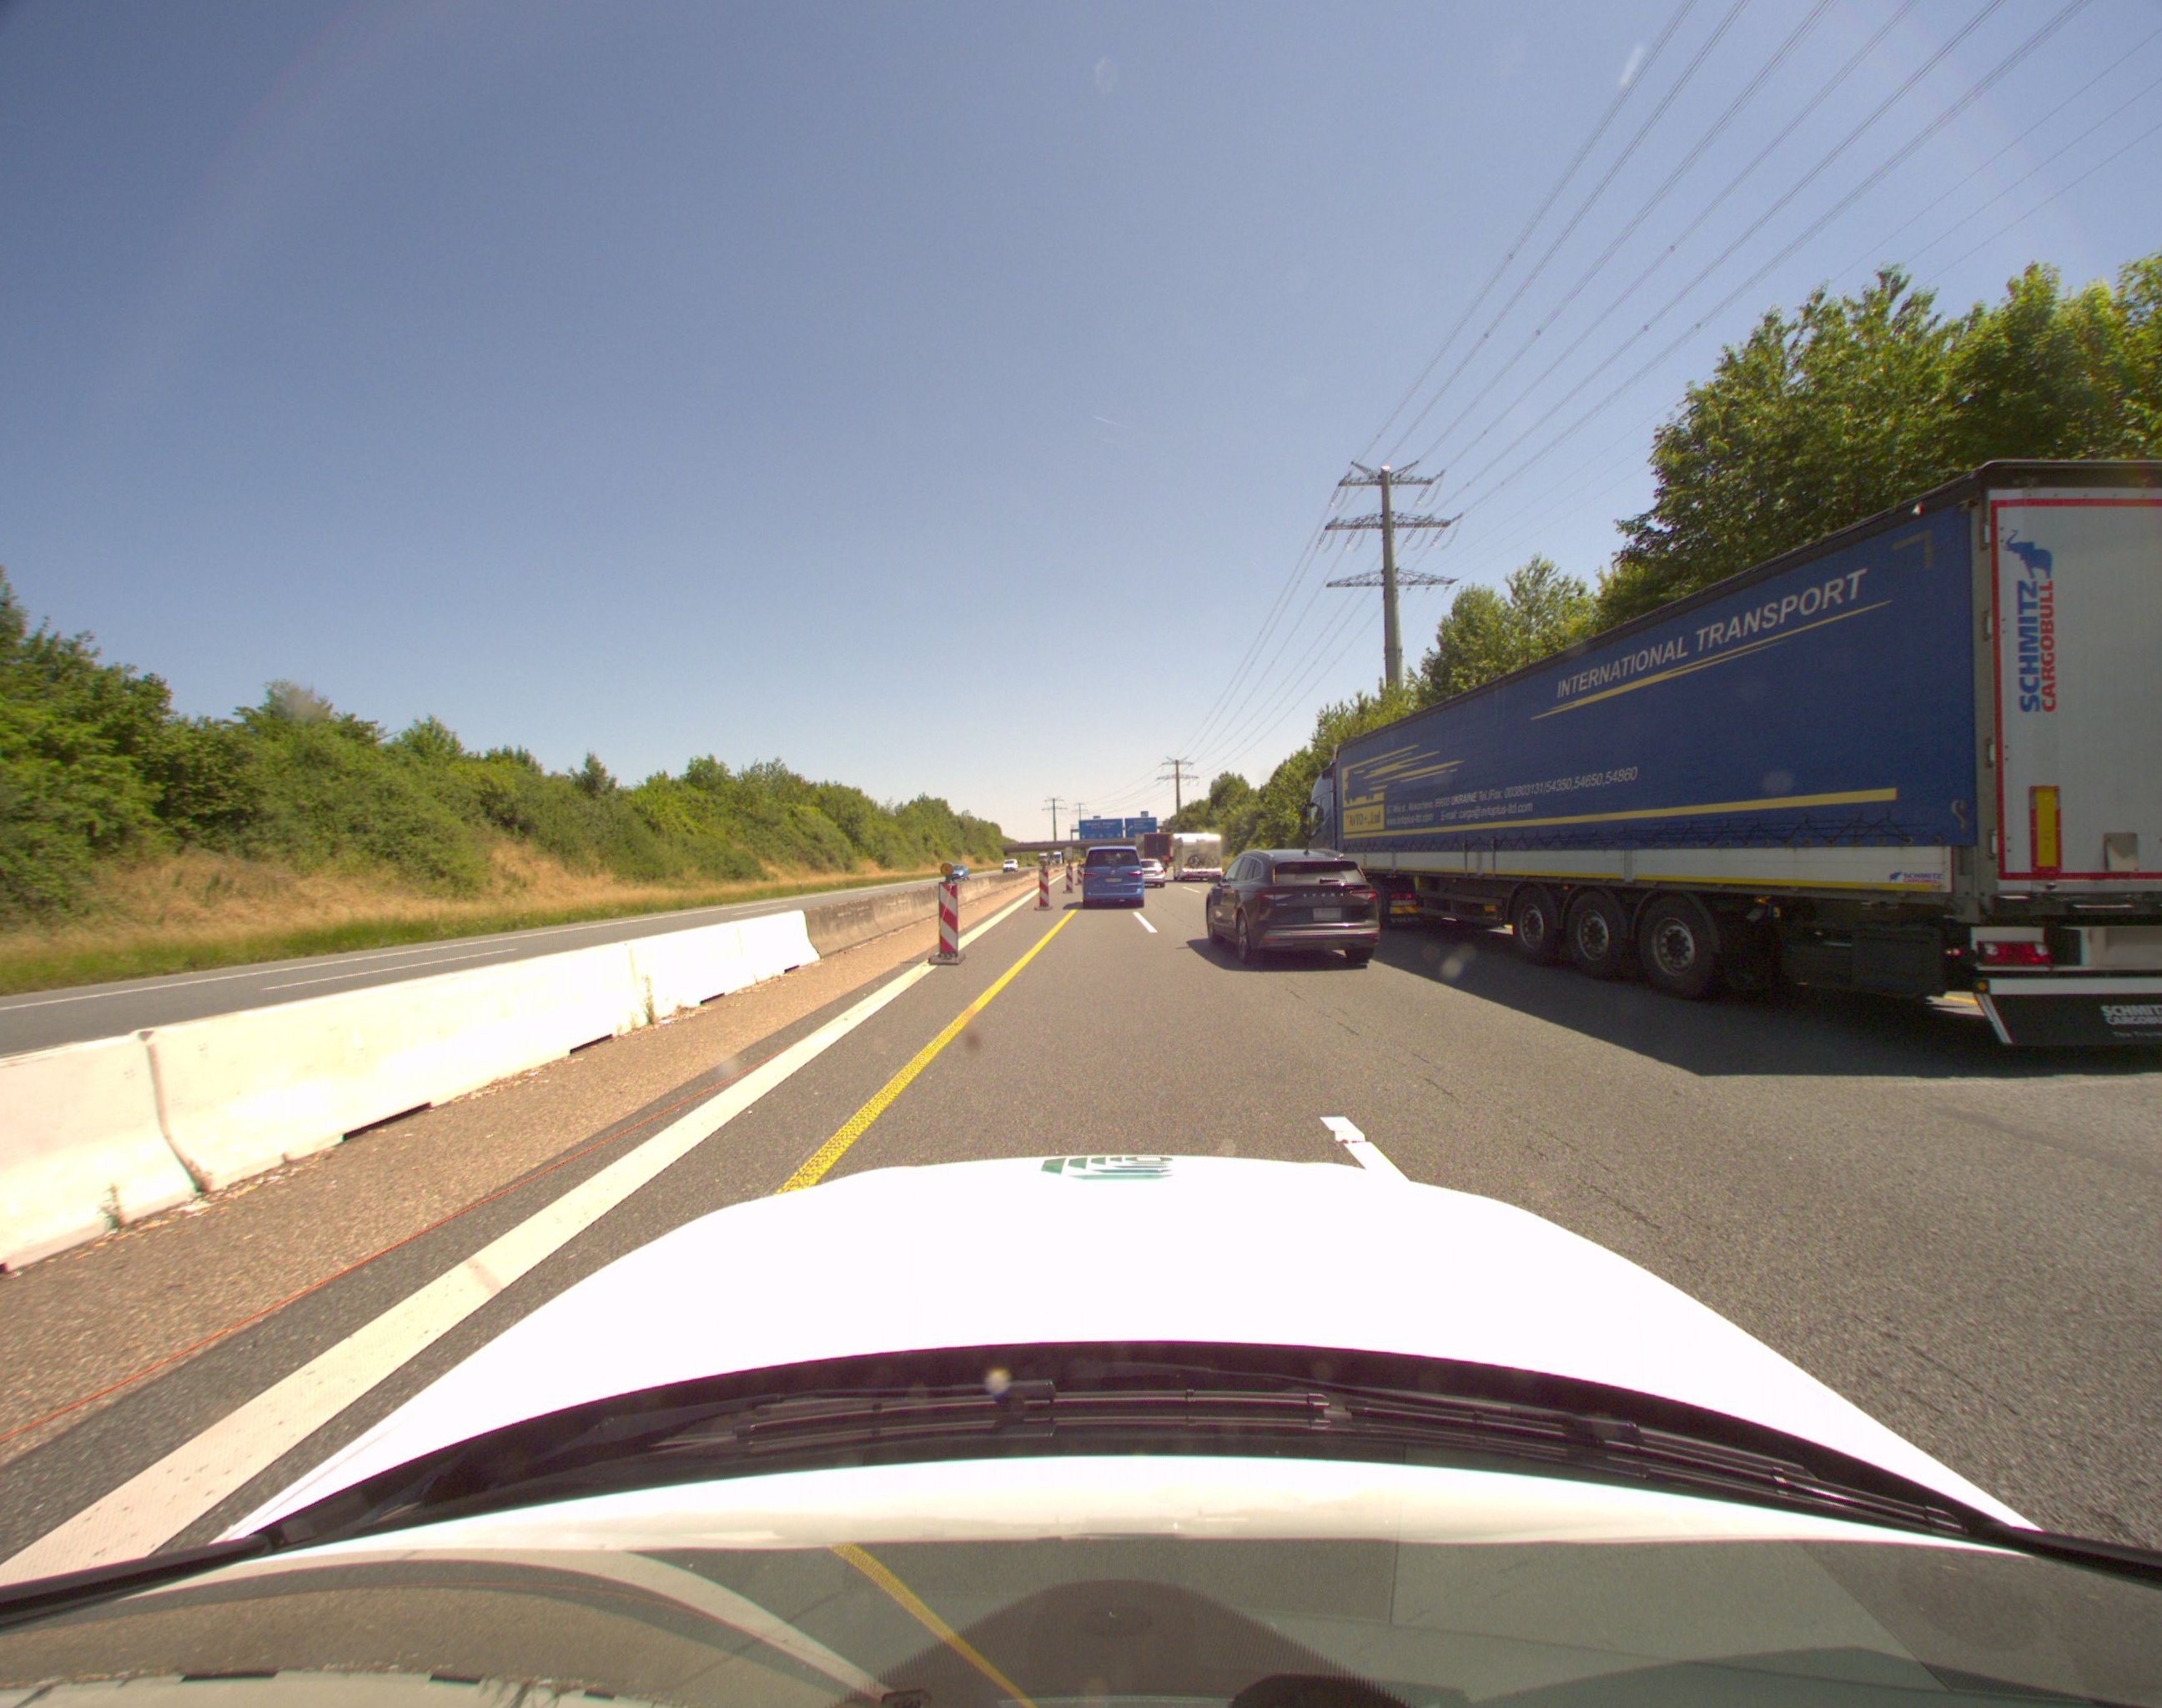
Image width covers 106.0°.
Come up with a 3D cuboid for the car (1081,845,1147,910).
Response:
[{"bbox_3d":[0.977,0.704,26.139,1.869,1.912,4.358,0,0,-1],"label":"car"}]

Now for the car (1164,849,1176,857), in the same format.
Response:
[{"bbox_3d":[17.530,-0.205,160.603,1.869,1.671,4.358,0,0,-1],"label":"car"}]

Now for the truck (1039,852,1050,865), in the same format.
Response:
[{"bbox_3d":[-11.397,1.444,253.251,2.712,3.919,6.780,0,-1,2],"label":"truck"}]

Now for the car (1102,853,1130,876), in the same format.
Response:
[{"bbox_3d":[2.596,0.781,61.838,1.869,1.671,4.358,0,0,-1],"label":"car"}]

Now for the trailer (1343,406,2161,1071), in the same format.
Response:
[{"bbox_3d":[7.210,-0.712,11.671,2.758,4.264,12.876,0,0,0],"label":"trailer"}]

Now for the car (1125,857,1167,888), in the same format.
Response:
[{"bbox_3d":[3.266,0.905,41.535,1.765,1.517,4.358,0,0,-1],"label":"car"}]

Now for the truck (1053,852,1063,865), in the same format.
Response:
[{"bbox_3d":[-7.276,1.479,255.148,2.712,3.919,6.780,0,-1,2],"label":"truck"}]

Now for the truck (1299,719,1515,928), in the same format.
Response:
[{"bbox_3d":[7.227,-0.584,18.974,2.776,4.144,5.636,0,-1,0],"label":"truck"}]

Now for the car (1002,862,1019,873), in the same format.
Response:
[{"bbox_3d":[-10.292,1.953,119.671,1.986,1.398,4.002,-3,0,2],"label":"car"}]

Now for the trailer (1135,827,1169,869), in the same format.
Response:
[{"bbox_3d":[7.396,-0.531,85.836,2.773,4.047,13.115,0,0,2],"label":"trailer"}]

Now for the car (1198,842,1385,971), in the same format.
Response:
[{"bbox_3d":[3.028,0.692,12.696,1.696,1.655,4.427,0,0,-1],"label":"car"}]

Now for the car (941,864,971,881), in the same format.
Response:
[{"bbox_3d":[-11.569,1.682,75.522,1.986,1.398,4.002,-3,0,2],"label":"car"}]

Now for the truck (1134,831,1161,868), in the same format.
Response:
[{"bbox_3d":[7.555,-0.490,92.760,2.723,4.047,5.795,0,-1,2],"label":"truck"}]

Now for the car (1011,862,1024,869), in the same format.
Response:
[{"bbox_3d":[-12.594,2.279,161.398,1.986,1.398,4.002,-3,0,2],"label":"car"}]

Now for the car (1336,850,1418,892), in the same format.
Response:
[{"bbox_3d":[12.499,0.682,34.722,1.869,1.671,4.358,0,0,-1],"label":"car"}]

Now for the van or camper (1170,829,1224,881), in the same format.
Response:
[{"bbox_3d":[7.134,0.081,50.922,2.361,3.043,7.632,0,0,0],"label":"van or camper"}]
